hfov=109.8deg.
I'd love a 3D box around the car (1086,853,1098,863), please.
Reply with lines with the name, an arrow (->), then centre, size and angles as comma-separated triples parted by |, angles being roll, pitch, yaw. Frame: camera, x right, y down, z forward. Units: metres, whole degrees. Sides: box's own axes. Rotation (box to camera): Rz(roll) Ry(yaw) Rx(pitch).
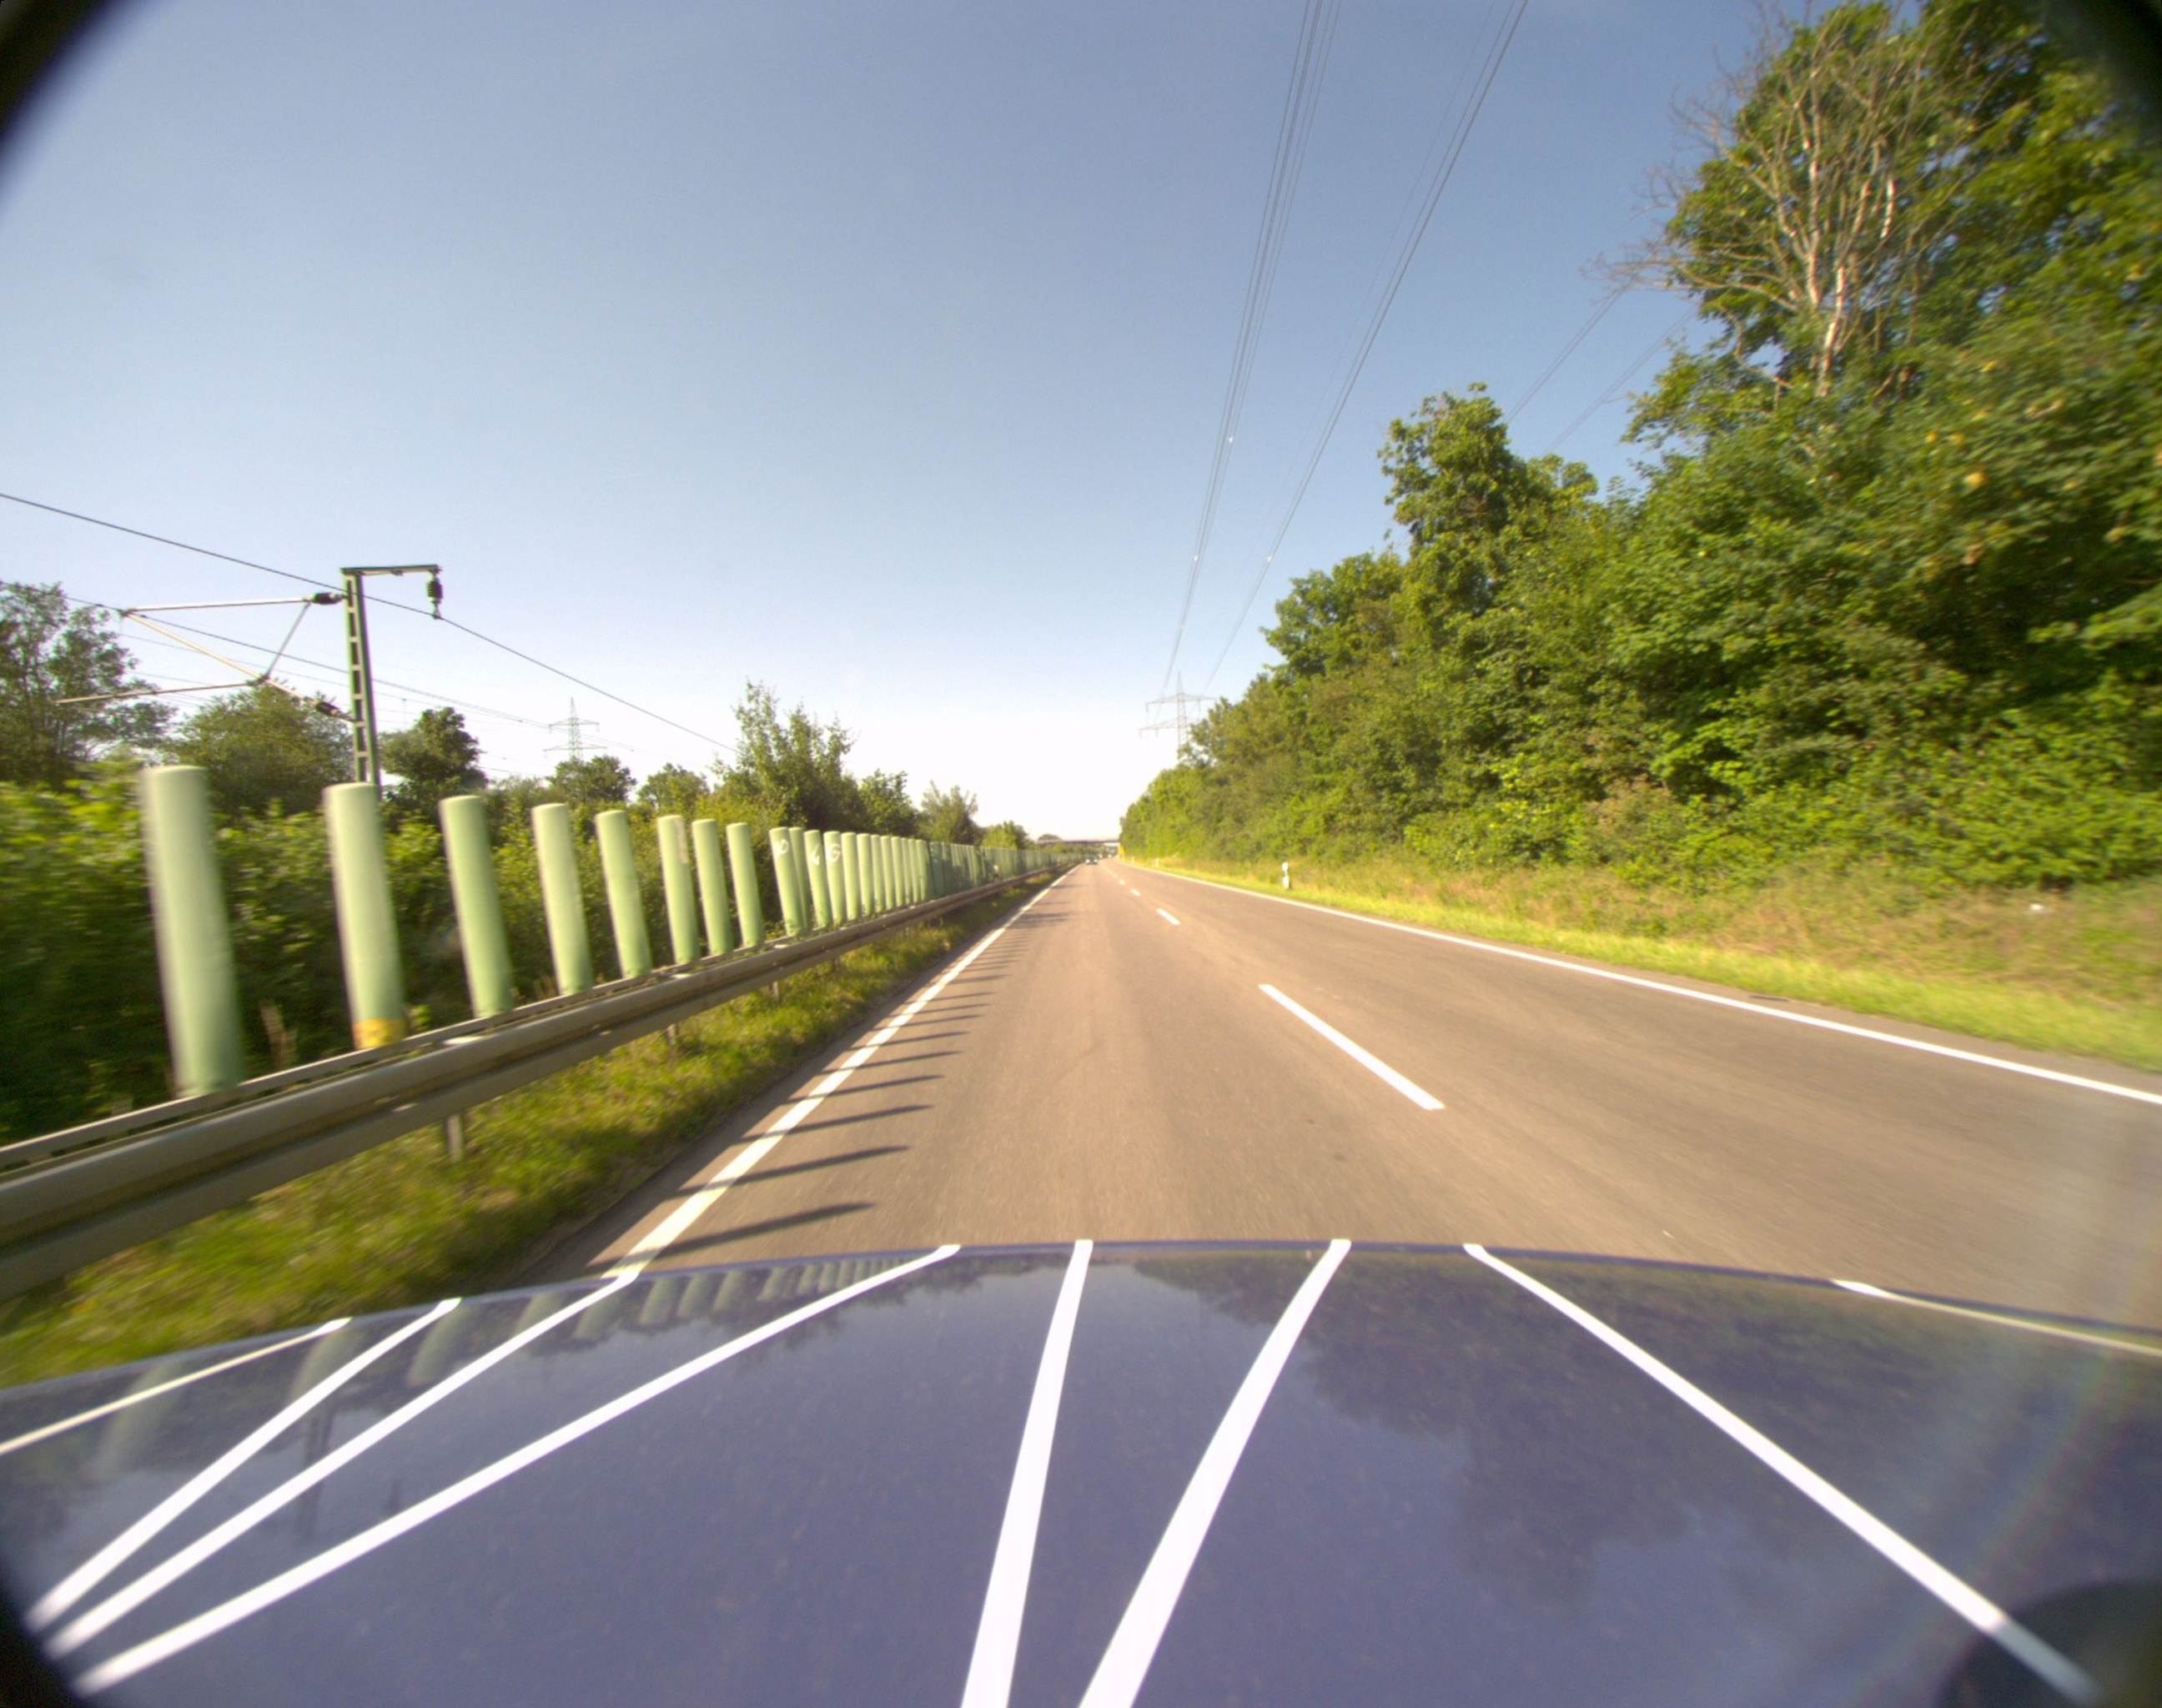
car -> 1.843, 0.635, 126.984 | 1.787, 1.550, 4.000 | -2, 0, 1
